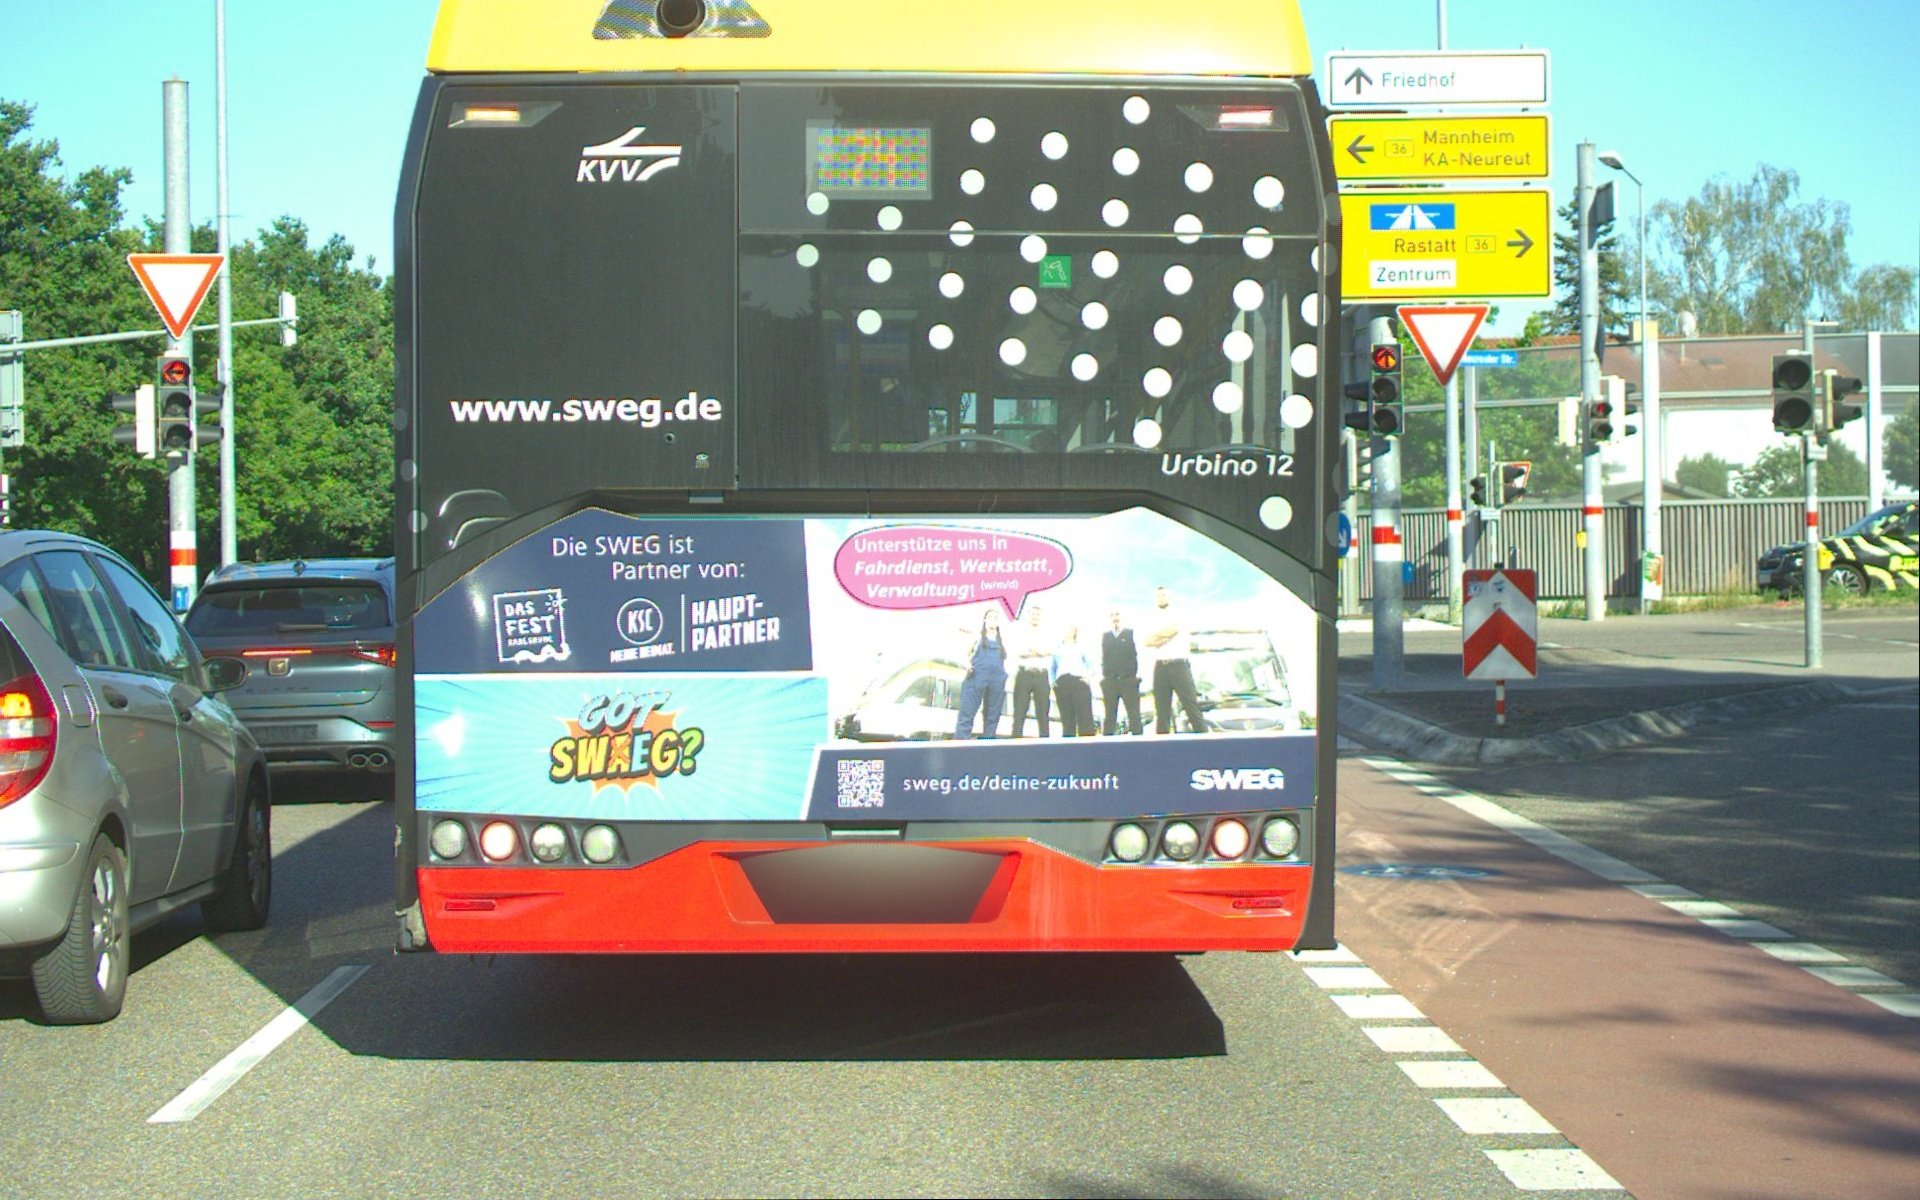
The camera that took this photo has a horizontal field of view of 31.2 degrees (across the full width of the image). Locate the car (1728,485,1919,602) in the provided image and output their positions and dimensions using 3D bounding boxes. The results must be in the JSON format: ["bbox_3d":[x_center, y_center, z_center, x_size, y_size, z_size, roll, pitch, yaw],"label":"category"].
[{"bbox_3d":[12.970,-0.822,47.859,4.066,1.521,1.769,-2,1,-5],"label":"car"}]

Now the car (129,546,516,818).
[{"bbox_3d":[-3.809,0.430,21.118,1.692,1.453,3.751,-2,1,-1],"label":"car"}]

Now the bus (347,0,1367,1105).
[{"bbox_3d":[-0.289,-0.402,14.885,2.642,3.156,11.861,0,1,0],"label":"bus"}]

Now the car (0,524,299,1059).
[{"bbox_3d":[-3.601,0.561,12.186,1.761,1.584,4.000,-2,1,-1],"label":"car"}]
